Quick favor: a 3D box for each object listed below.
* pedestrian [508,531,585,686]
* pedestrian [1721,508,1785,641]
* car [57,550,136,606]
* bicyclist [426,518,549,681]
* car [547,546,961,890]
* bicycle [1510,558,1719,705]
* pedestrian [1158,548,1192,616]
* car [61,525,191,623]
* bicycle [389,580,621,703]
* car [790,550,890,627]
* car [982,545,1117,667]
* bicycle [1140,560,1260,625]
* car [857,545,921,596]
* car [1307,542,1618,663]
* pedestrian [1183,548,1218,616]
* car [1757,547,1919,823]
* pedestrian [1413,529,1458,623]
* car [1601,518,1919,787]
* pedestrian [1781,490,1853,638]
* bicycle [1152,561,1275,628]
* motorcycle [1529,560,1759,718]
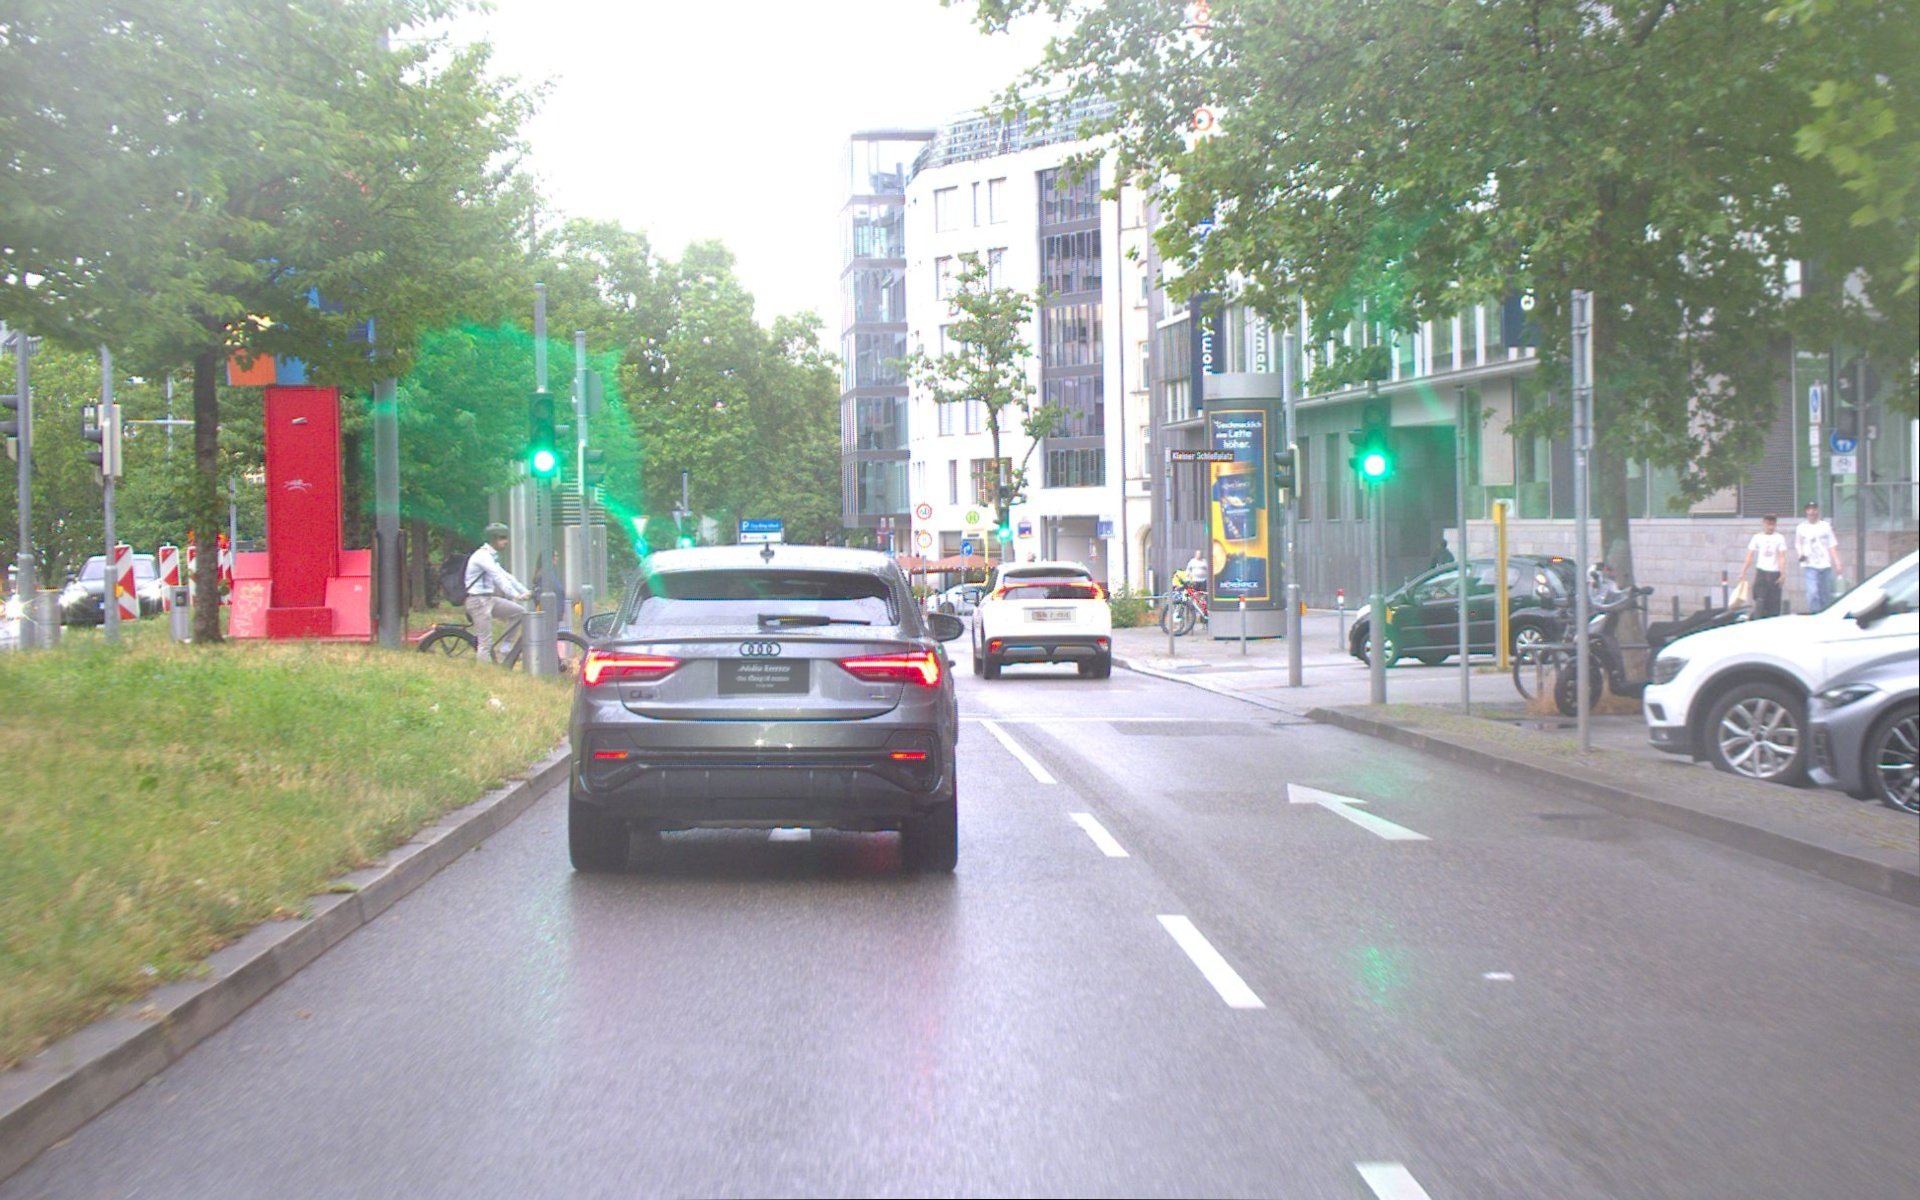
[{"bbox_3d":[-4.810,0.095,40.052,0.662,1.787,0.750,1,0,13],"label":"pedestrian"},{"bbox_3d":[11.475,-0.372,49.765,0.867,1.897,0.885,1,0,12],"label":"pedestrian"},{"bbox_3d":[-25.753,-0.670,102.637,1.732,1.553,4.001,-2,1,-7],"label":"car"},{"bbox_3d":[-4.862,-0.006,35.446,1.104,1.616,0.751,3,0,-1],"label":"bicyclist"},{"bbox_3d":[-0.941,0.496,17.398,1.849,1.518,4.039,0,1,-1],"label":"car"},{"bbox_3d":[6.410,0.305,33.758,1.983,1.410,0.725,1,0,9],"label":"bicycle"},{"bbox_3d":[6.447,-0.540,103.015,0.855,2.007,0.976,1,0,-5],"label":"pedestrian"},{"bbox_3d":[-16.574,-0.544,68.469,1.993,1.820,4.001,-2,1,-7],"label":"car"},{"bbox_3d":[-4.674,0.423,35.444,2.254,1.158,0.751,2,0,-1],"label":"bicycle"},{"bbox_3d":[-2.396,-0.250,69.517,1.849,1.518,4.039,0,1,0],"label":"car"},{"bbox_3d":[1.245,0.057,49.295,1.849,1.663,4.039,0,1,0],"label":"car"},{"bbox_3d":[4.870,-0.151,69.717,2.337,1.308,0.710,0,1,-7],"label":"bicycle"},{"bbox_3d":[-2.144,-0.907,105.133,1.849,1.518,4.039,0,1,0],"label":"car"},{"bbox_3d":[6.732,0.020,46.241,3.861,1.562,1.663,1,0,42],"label":"car"},{"bbox_3d":[7.122,-0.532,101.859,0.855,2.007,0.976,1,0,-5],"label":"pedestrian"},{"bbox_3d":[6.771,0.428,18.878,4.300,1.483,1.840,-1,1,29],"label":"car"},{"bbox_3d":[10.874,-0.546,78.663,0.936,2.108,1.075,1,0,12],"label":"pedestrian"},{"bbox_3d":[6.452,0.301,22.069,4.223,1.663,1.836,-1,1,27],"label":"car"},{"bbox_3d":[12.373,-0.512,49.669,0.936,2.108,1.075,1,0,12],"label":"pedestrian"},{"bbox_3d":[4.994,-0.109,67.825,2.337,1.308,0.710,0,1,-7],"label":"bicycle"},{"bbox_3d":[6.272,0.353,31.609,2.029,1.410,0.725,1,0,9],"label":"motorcycle"}]
